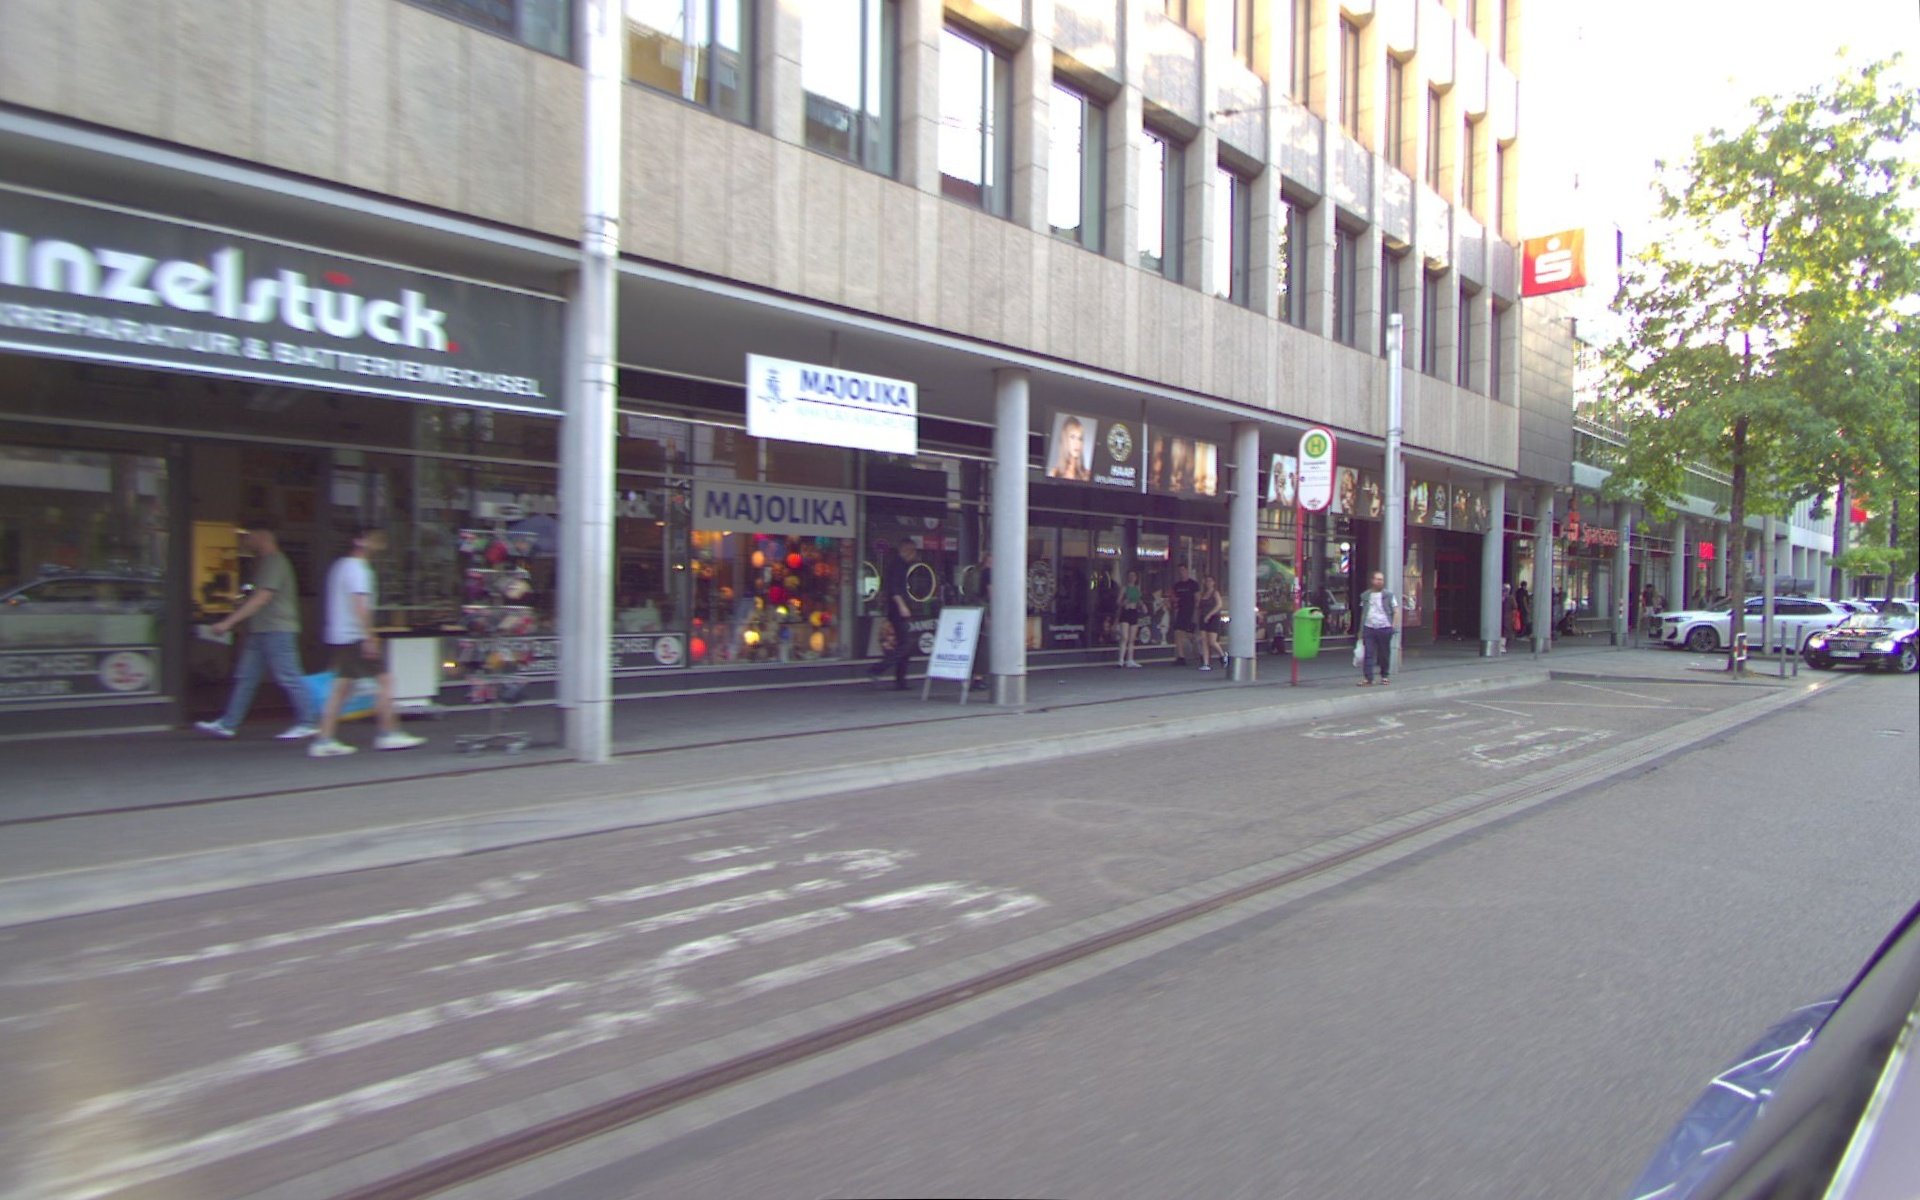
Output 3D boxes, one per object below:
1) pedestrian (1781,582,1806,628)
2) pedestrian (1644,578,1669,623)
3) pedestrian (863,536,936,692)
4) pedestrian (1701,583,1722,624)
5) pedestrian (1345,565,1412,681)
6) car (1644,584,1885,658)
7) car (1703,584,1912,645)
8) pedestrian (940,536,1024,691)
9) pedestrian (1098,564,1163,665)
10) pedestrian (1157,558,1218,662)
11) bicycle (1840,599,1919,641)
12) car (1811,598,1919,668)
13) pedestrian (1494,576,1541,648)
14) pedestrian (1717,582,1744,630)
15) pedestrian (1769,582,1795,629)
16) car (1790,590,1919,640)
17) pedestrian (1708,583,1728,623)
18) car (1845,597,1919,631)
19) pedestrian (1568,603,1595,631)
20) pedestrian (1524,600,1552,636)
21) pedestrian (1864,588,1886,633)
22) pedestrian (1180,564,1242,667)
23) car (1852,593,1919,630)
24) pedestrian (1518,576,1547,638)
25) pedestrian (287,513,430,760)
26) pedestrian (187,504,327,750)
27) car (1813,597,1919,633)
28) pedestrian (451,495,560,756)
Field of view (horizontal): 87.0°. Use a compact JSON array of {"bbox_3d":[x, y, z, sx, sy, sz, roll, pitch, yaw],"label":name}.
[{"bbox_3d":[31.725,0.194,38.508,0.617,1.712,0.617,0,2,-41],"label":"pedestrian"},{"bbox_3d":[27.202,0.017,39.533,0.619,1.712,0.555,1,1,16],"label":"pedestrian"},{"bbox_3d":[-0.774,0.155,12.853,0.671,1.912,0.617,0,2,-40],"label":"pedestrian"},{"bbox_3d":[31.994,0.143,43.096,0.617,1.712,0.557,0,2,-41],"label":"pedestrian"},{"bbox_3d":[5.990,0.319,14.482,0.627,1.608,0.669,0,-1,-42],"label":"pedestrian"},{"bbox_3d":[21.387,0.527,27.139,4.575,1.650,1.908,3,0,17],"label":"car"},{"bbox_3d":[26.676,0.414,32.040,4.570,1.607,1.910,3,2,14],"label":"car"},{"bbox_3d":[0.279,0.156,13.030,0.782,1.912,0.708,0,2,-41],"label":"pedestrian"},{"bbox_3d":[2.886,0.225,17.133,0.805,1.664,0.711,0,2,-43],"label":"pedestrian"},{"bbox_3d":[4.041,0.157,17.976,0.849,1.794,0.674,0,2,-43],"label":"pedestrian"},{"bbox_3d":[33.864,0.726,36.800,2.642,1.475,0.724,-1,-1,22],"label":"bicycle"},{"bbox_3d":[21.354,0.676,22.931,4.474,1.426,1.801,0,0,-31],"label":"car"},{"bbox_3d":[13.308,0.278,24.169,0.728,1.664,0.749,0,2,-42],"label":"pedestrian"},{"bbox_3d":[28.134,0.222,36.955,0.617,1.712,0.617,0,2,-41],"label":"pedestrian"},{"bbox_3d":[30.876,0.202,38.023,0.617,1.712,0.617,0,2,-41],"label":"pedestrian"},{"bbox_3d":[37.222,0.610,41.559,4.397,1.904,1.793,-2,-1,12],"label":"car"},{"bbox_3d":[33.272,0.125,44.439,0.617,1.712,0.557,0,2,-41],"label":"pedestrian"},{"bbox_3d":[45.027,0.655,48.101,3.948,1.530,1.853,-2,-1,19],"label":"car"},{"bbox_3d":[20.564,0.561,33.471,0.548,0.892,0.627,0,2,-42],"label":"pedestrian"},{"bbox_3d":[17.612,0.538,30.825,0.625,1.048,0.550,2,2,40],"label":"pedestrian"},{"bbox_3d":[35.253,0.385,38.993,0.616,1.712,0.618,1,0,44],"label":"pedestrian"},{"bbox_3d":[4.205,0.240,16.947,0.775,1.664,0.682,0,2,-43],"label":"pedestrian"},{"bbox_3d":[48.275,0.560,51.426,3.957,1.809,1.849,-2,-1,25],"label":"car"},{"bbox_3d":[16.974,0.194,29.998,0.617,1.794,0.557,0,2,-41],"label":"pedestrian"},{"bbox_3d":[-4.782,0.254,8.040,0.844,1.819,0.846,0,2,-41],"label":"pedestrian"},{"bbox_3d":[-5.897,0.191,8.484,0.883,1.912,0.846,0,2,-41],"label":"pedestrian"},{"bbox_3d":[41.945,0.684,46.335,3.948,1.530,1.789,-2,-1,19],"label":"car"},{"bbox_3d":[-3.614,0.180,8.042,0.644,1.968,0.579,0,2,-42],"label":"pedestrian"}]
